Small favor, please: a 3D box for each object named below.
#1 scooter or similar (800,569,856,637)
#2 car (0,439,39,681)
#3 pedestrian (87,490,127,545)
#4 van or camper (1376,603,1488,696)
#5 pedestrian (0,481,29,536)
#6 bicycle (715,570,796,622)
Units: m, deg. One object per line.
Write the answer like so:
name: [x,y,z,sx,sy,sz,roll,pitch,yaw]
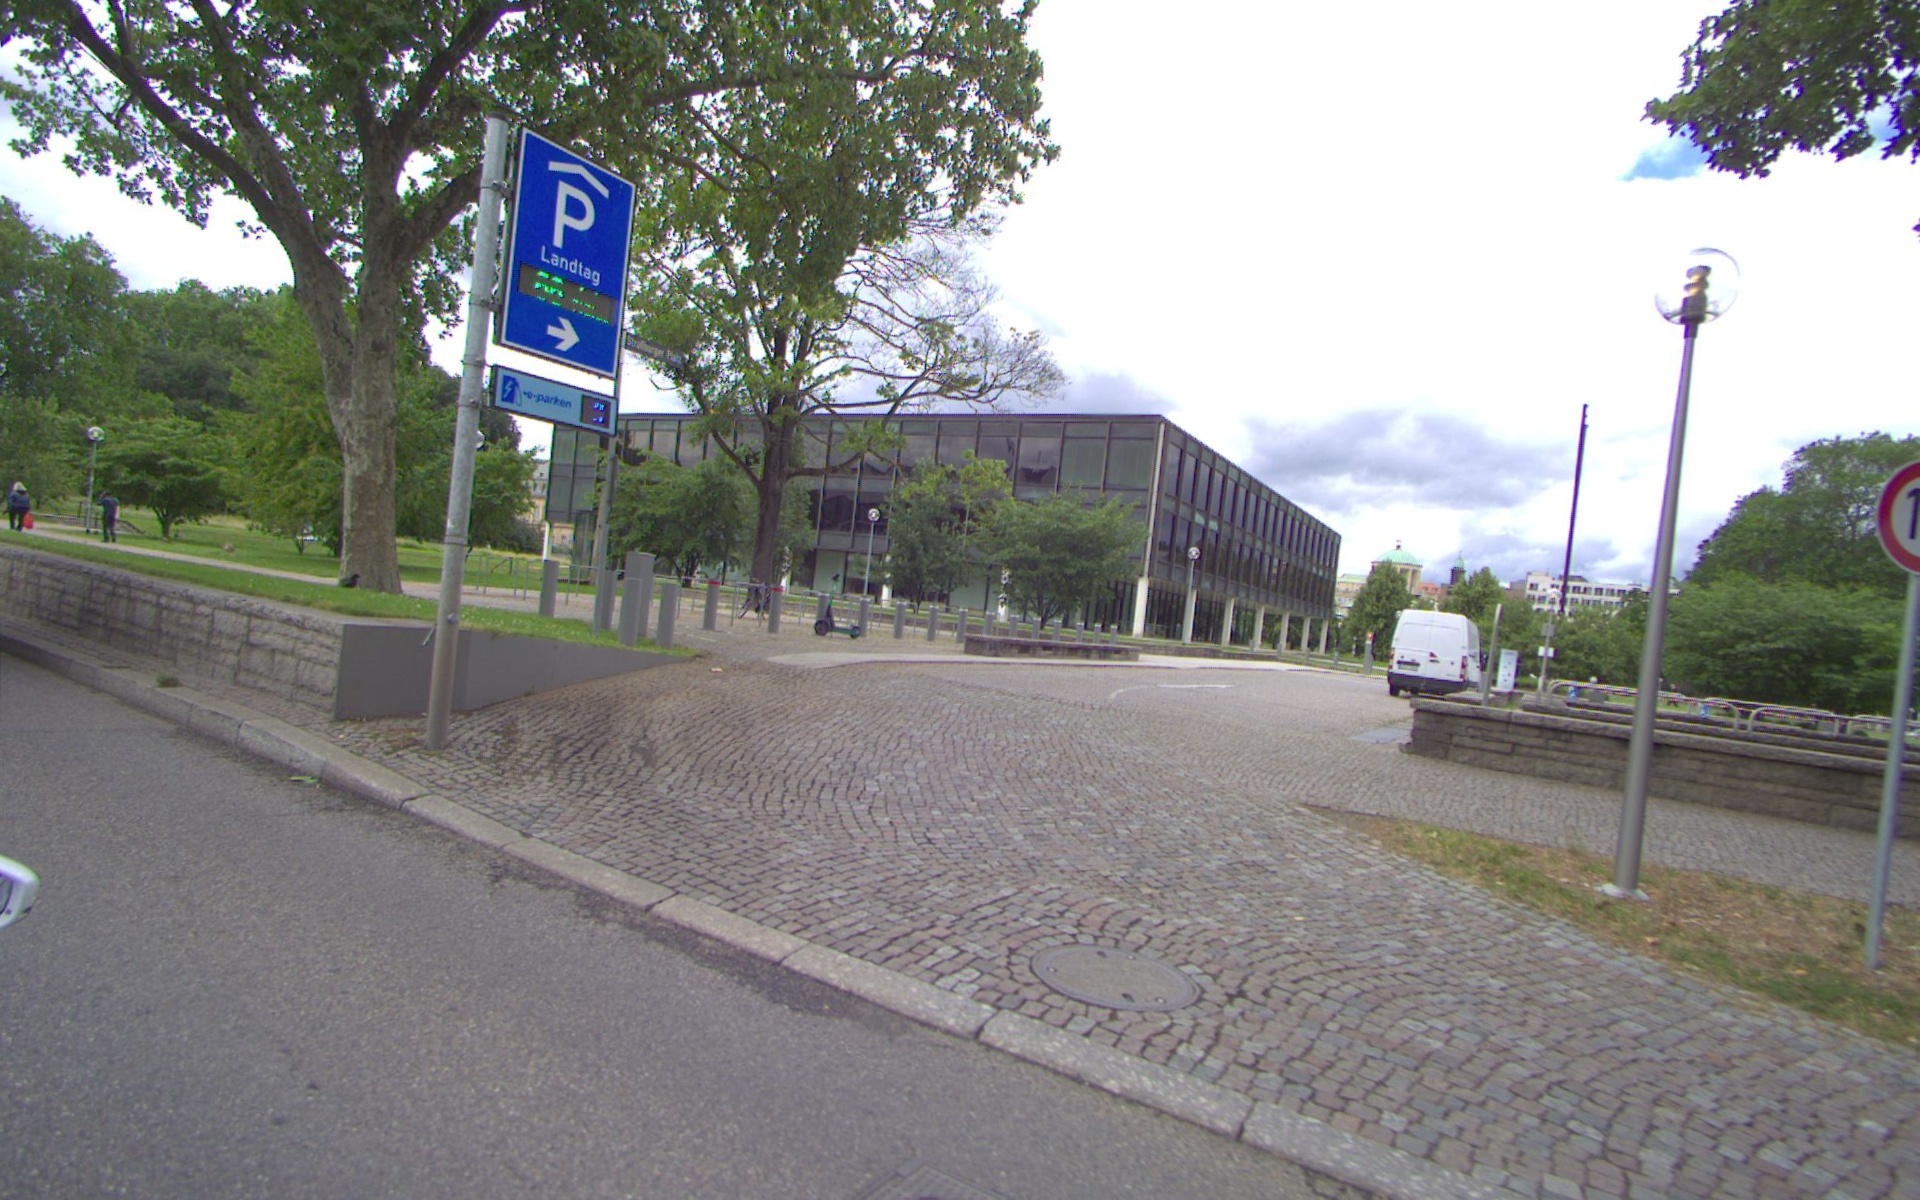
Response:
scooter or similar: [-2.694,0.058,20.562,0.716,1.261,0.718,6,-2,30]
car: [-10.034,-0.590,8.577,4.631,1.915,1.981,5,-3,33]
pedestrian: [-27.475,-2.664,32.407,0.617,1.647,0.801,7,2,40]
van or camper: [14.285,1.583,30.243,2.282,2.346,5.706,5,-2,32]
pedestrian: [-29.104,-2.809,30.860,0.680,1.582,0.898,5,2,-40]
bicycle: [-5.375,-0.087,26.531,0.674,1.156,2.193,7,1,32]
